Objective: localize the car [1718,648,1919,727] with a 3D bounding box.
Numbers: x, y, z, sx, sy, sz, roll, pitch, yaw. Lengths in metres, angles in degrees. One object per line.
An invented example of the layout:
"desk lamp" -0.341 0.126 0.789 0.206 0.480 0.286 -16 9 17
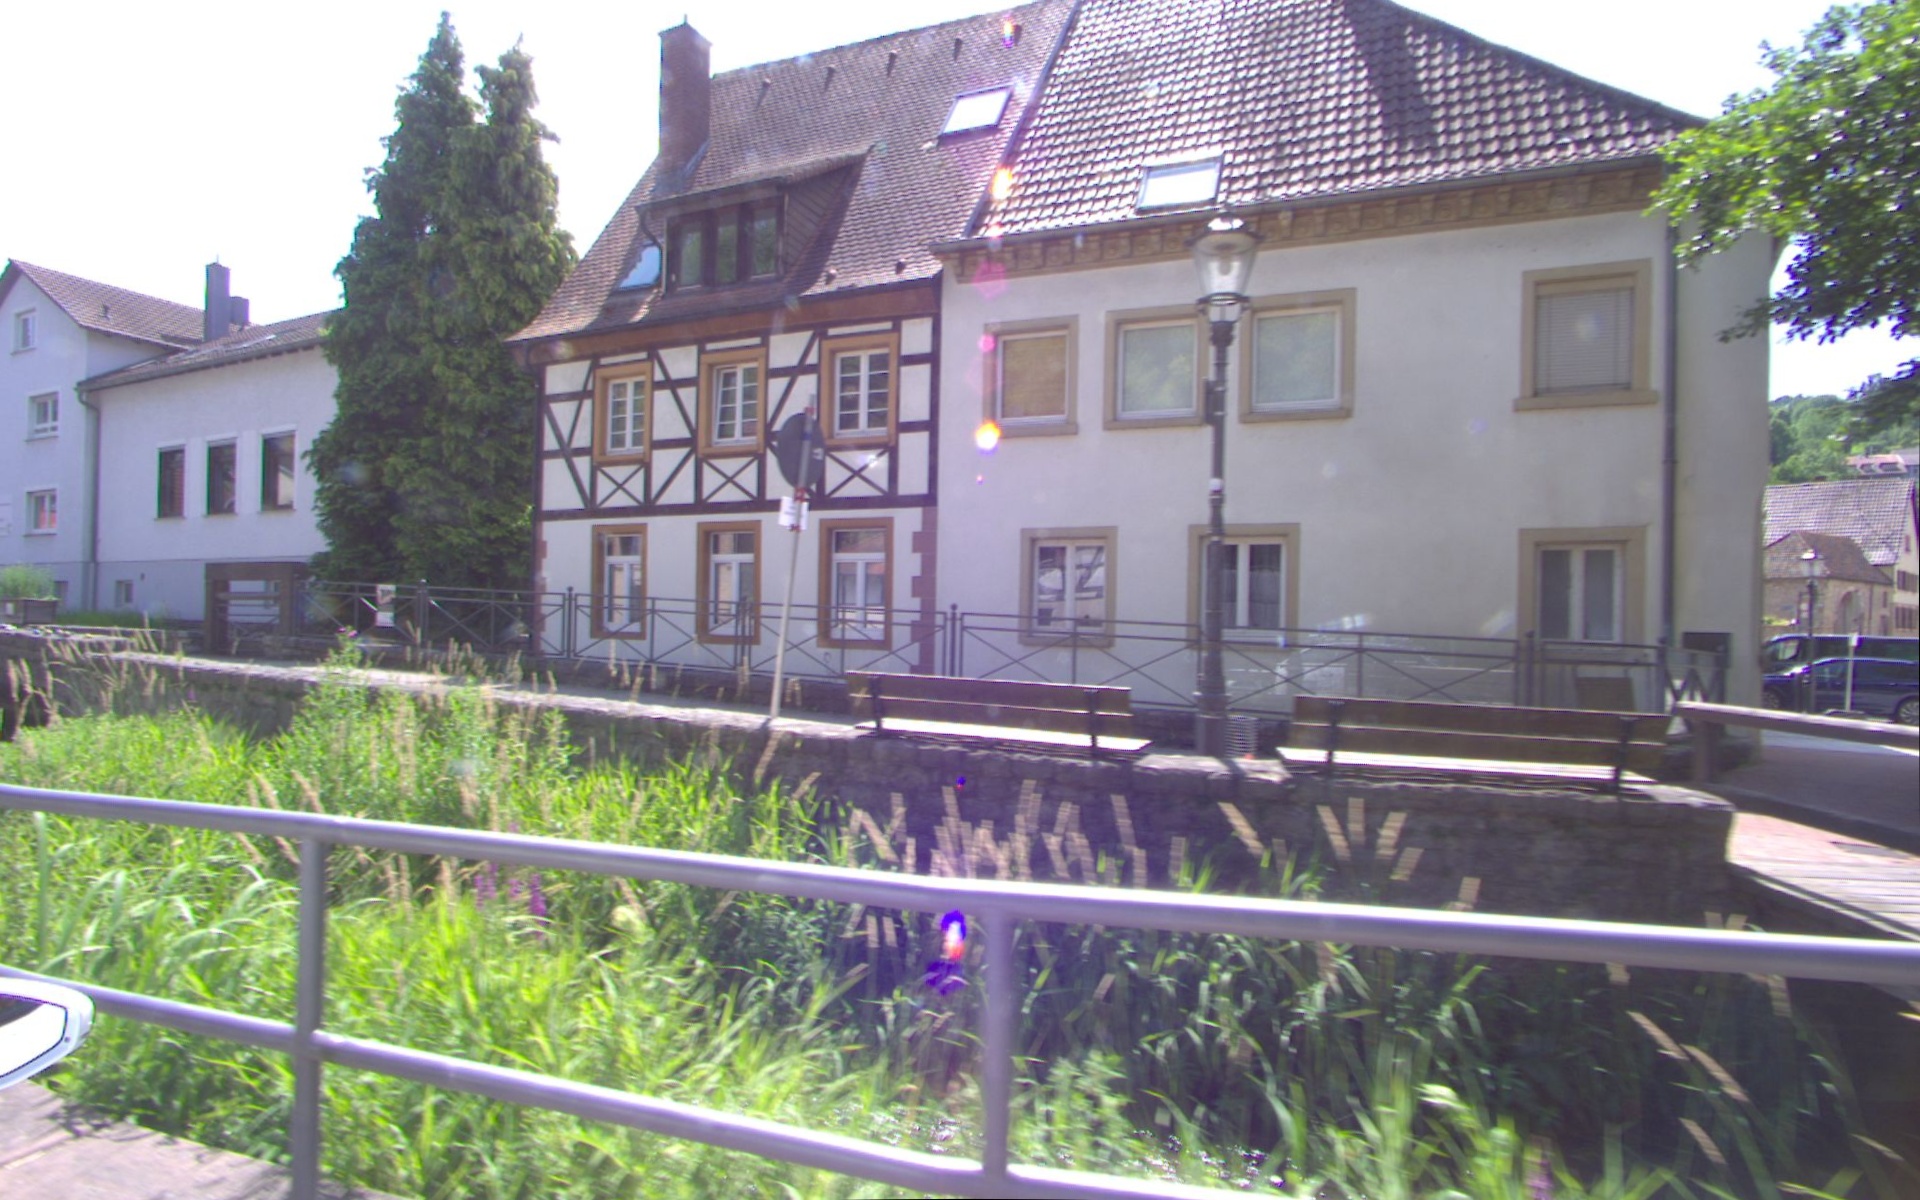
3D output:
"car" 20.697 2.035 23.507 4.477 1.501 1.580 2 1 34

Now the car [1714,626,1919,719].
"car" 22.587 1.815 25.637 5.051 2.054 1.948 2 1 34
